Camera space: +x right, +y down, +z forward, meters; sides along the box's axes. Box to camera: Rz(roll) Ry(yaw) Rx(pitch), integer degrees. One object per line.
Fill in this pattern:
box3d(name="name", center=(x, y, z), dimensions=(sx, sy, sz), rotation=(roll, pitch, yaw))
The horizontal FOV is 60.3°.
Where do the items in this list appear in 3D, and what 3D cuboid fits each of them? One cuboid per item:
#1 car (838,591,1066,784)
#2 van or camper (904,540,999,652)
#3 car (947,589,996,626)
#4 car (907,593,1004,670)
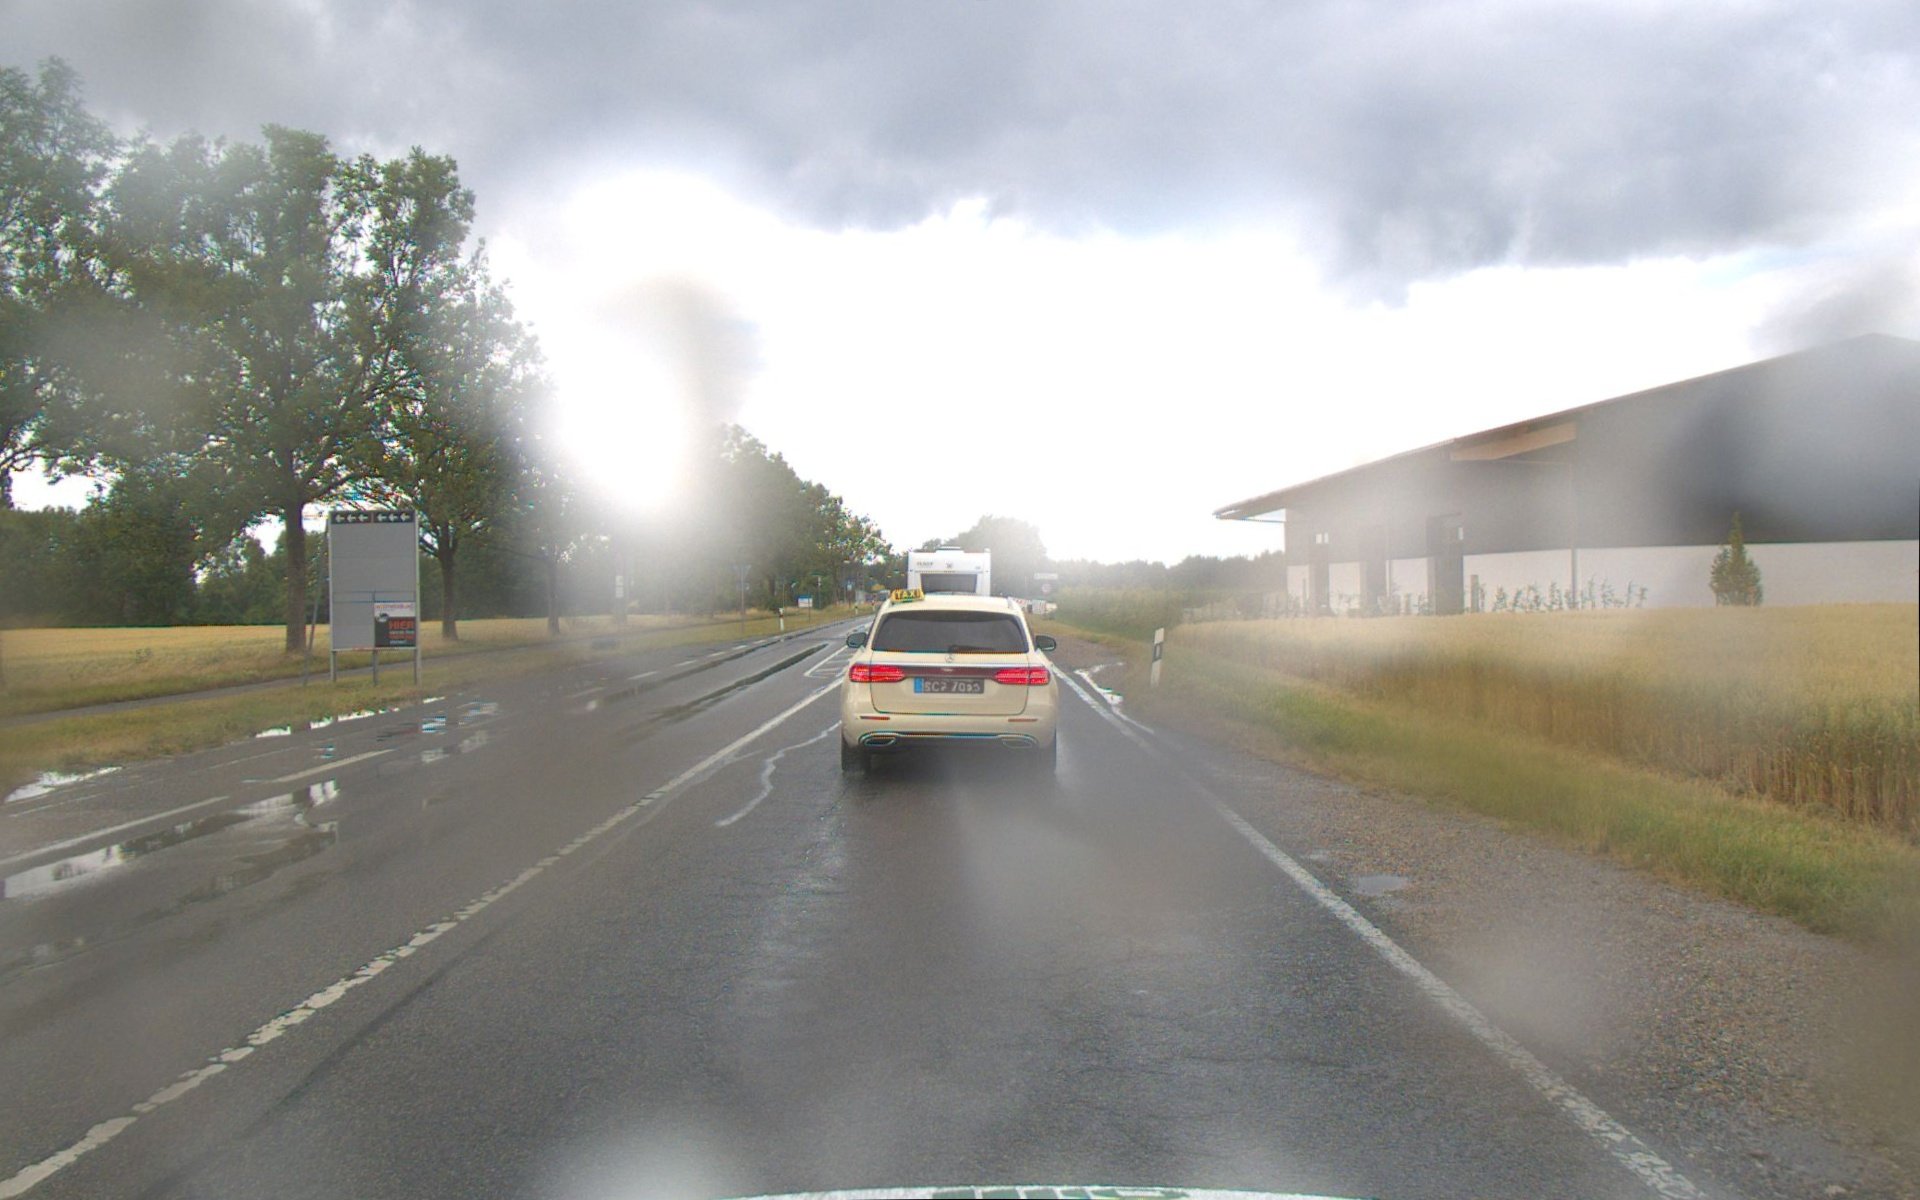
box3d(name="car", center=(-0.054, 0.663, 14.768), dimensions=(1.760, 1.490, 4.031), rotation=(0, 0, 0))
box3d(name="van or camper", center=(-0.194, -0.113, 46.907), dimensions=(2.445, 2.880, 5.934), rotation=(-2, 0, 1))
box3d(name="car", center=(0.542, 0.315, 73.541), dimensions=(1.854, 1.618, 3.930), rotation=(0, 0, 5))
box3d(name="car", center=(-0.105, 0.598, 33.665), dimensions=(1.856, 1.454, 3.927), rotation=(0, 0, -1))
